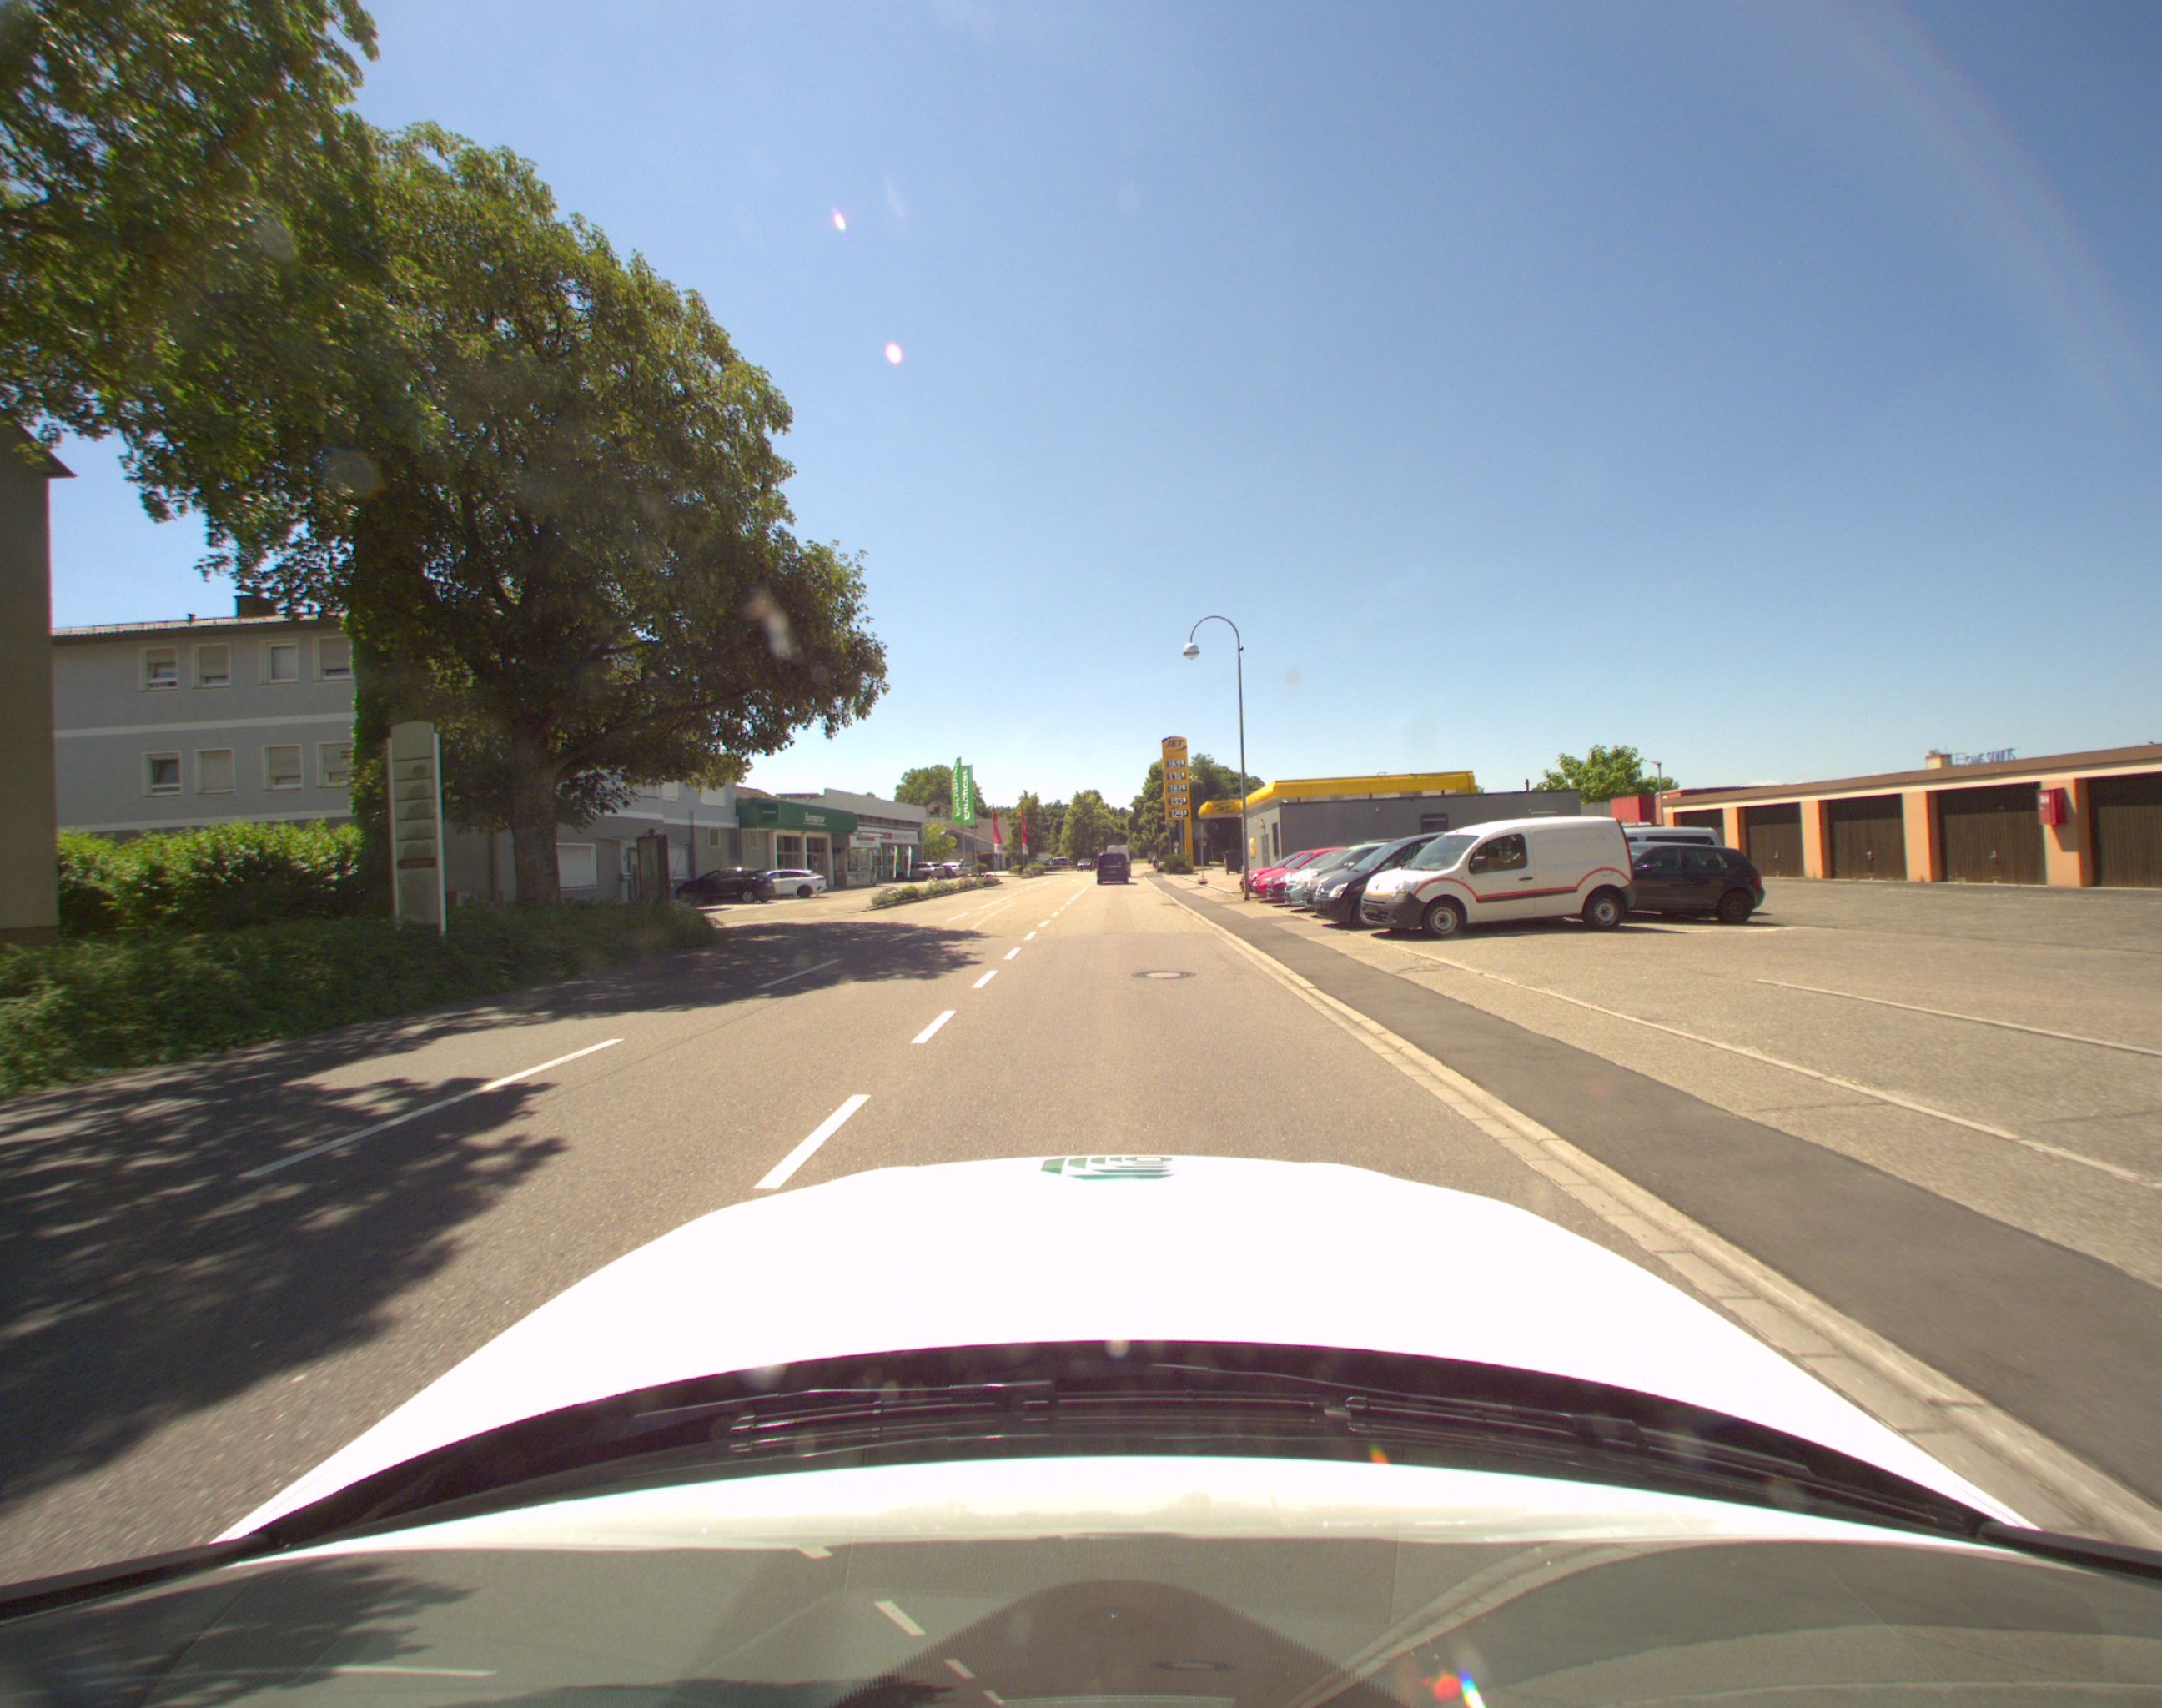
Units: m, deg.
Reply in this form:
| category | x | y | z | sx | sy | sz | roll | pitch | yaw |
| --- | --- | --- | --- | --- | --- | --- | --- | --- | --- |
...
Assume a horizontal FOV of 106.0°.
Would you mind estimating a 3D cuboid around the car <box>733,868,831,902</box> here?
| category | x | y | z | sx | sy | sz | roll | pitch | yaw |
| --- | --- | --- | --- | --- | --- | --- | --- | --- | --- |
| car | -14.573 | 1.506 | 39.826 | 4.355 | 1.439 | 1.927 | -2 | -1 | -20 |

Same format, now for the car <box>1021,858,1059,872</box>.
| category | x | y | z | sx | sy | sz | roll | pitch | yaw |
| --- | --- | --- | --- | --- | --- | --- | --- | --- | --- |
| car | -5.423 | 1.497 | 107.622 | 4.678 | 1.762 | 2.104 | -1 | -1 | 10 |

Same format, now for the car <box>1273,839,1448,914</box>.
| category | x | y | z | sx | sy | sz | roll | pitch | yaw |
| --- | --- | --- | --- | --- | --- | --- | --- | --- | --- |
| car | 6.790 | 0.538 | 20.032 | 3.673 | 1.566 | 1.641 | -3 | 0 | 0 |

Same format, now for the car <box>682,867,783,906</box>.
| category | x | y | z | sx | sy | sz | roll | pitch | yaw |
| --- | --- | --- | --- | --- | --- | --- | --- | --- | --- |
| car | -15.346 | 1.417 | 35.976 | 3.546 | 1.565 | 1.970 | -2 | -1 | 2 |

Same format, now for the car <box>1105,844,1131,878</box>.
| category | x | y | z | sx | sy | sz | roll | pitch | yaw |
| --- | --- | --- | --- | --- | --- | --- | --- | --- | --- |
| car | 3.027 | 0.612 | 66.939 | 2.070 | 2.702 | 4.669 | 0 | -1 | 3 |

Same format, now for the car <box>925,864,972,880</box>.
| category | x | y | z | sx | sy | sz | roll | pitch | yaw |
| --- | --- | --- | --- | --- | --- | --- | --- | --- | --- |
| car | -13.284 | 1.808 | 81.720 | 4.150 | 1.446 | 1.989 | -2 | 0 | 18 |

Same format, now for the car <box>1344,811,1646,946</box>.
| category | x | y | z | sx | sy | sz | roll | pitch | yaw |
| --- | --- | --- | --- | --- | --- | --- | --- | --- | --- |
| car | 6.763 | 0.370 | 13.587 | 4.125 | 1.938 | 1.806 | -2 | 0 | -4 |

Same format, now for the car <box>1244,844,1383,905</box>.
| category | x | y | z | sx | sy | sz | roll | pitch | yaw |
| --- | --- | --- | --- | --- | --- | --- | --- | --- | --- |
| car | 6.956 | 0.597 | 24.605 | 3.674 | 1.566 | 1.707 | -3 | 0 | -2 |

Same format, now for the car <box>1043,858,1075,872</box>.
| category | x | y | z | sx | sy | sz | roll | pitch | yaw |
| --- | --- | --- | --- | --- | --- | --- | --- | --- | --- |
| car | -3.138 | 1.634 | 117.705 | 4.337 | 1.980 | 1.907 | -1 | -1 | 4 |

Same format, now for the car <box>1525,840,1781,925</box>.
| category | x | y | z | sx | sy | sz | roll | pitch | yaw |
| --- | --- | --- | --- | --- | --- | --- | --- | --- | --- |
| car | 10.787 | 0.515 | 15.554 | 3.597 | 1.468 | 1.947 | 1 | 0 | -3 |

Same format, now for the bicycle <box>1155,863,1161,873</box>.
| category | x | y | z | sx | sy | sz | roll | pitch | yaw |
| --- | --- | --- | --- | --- | --- | --- | --- | --- | --- |
| bicycle | 7.596 | 1.367 | 80.045 | 0.375 | 0.912 | 1.603 | -2 | -1 | 11 |

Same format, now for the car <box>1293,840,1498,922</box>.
| category | x | y | z | sx | sy | sz | roll | pitch | yaw |
| --- | --- | --- | --- | --- | --- | --- | --- | --- | --- |
| car | 6.799 | 0.560 | 17.944 | 3.777 | 1.509 | 1.835 | -3 | 0 | 2 |

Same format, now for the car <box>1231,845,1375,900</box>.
| category | x | y | z | sx | sy | sz | roll | pitch | yaw |
| --- | --- | --- | --- | --- | --- | --- | --- | --- | --- |
| car | 7.293 | 0.597 | 27.067 | 4.209 | 1.534 | 1.959 | -3 | 0 | 1 |

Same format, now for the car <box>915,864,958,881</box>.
| category | x | y | z | sx | sy | sz | roll | pitch | yaw |
| --- | --- | --- | --- | --- | --- | --- | --- | --- | --- |
| car | -13.992 | 1.811 | 78.950 | 3.595 | 1.475 | 2.010 | -2 | 0 | 21 |

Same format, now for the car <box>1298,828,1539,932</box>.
| category | x | y | z | sx | sy | sz | roll | pitch | yaw |
| --- | --- | --- | --- | --- | --- | --- | --- | --- | --- |
| car | 6.374 | 0.478 | 15.691 | 3.864 | 1.680 | 1.763 | -3 | 0 | -1 |

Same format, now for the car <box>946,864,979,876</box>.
| category | x | y | z | sx | sy | sz | roll | pitch | yaw |
| --- | --- | --- | --- | --- | --- | --- | --- | --- | --- |
| car | -16.600 | 2.211 | 114.451 | 4.294 | 1.530 | 1.829 | -2 | -1 | 2 |

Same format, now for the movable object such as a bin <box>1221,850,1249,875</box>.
| category | x | y | z | sx | sy | sz | roll | pitch | yaw |
| --- | --- | --- | --- | --- | --- | --- | --- | --- | --- |
| movable object such as a bin | 9.517 | 0.521 | 50.341 | 1.428 | 1.438 | 1.469 | -4 | -1 | 3 |

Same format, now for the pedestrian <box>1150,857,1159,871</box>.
| category | x | y | z | sx | sy | sz | roll | pitch | yaw |
| --- | --- | --- | --- | --- | --- | --- | --- | --- | --- |
| pedestrian | 7.230 | 0.974 | 80.201 | 0.764 | 1.421 | 0.870 | -2 | -1 | 11 |

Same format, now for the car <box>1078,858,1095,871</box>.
| category | x | y | z | sx | sy | sz | roll | pitch | yaw |
| --- | --- | --- | --- | --- | --- | --- | --- | --- | --- |
| car | 0.709 | 1.280 | 101.800 | 1.755 | 1.527 | 4.141 | -3 | 0 | 3 |

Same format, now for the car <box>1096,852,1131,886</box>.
| category | x | y | z | sx | sy | sz | roll | pitch | yaw |
| --- | --- | --- | --- | --- | --- | --- | --- | --- | --- |
| car | 1.943 | 0.882 | 49.435 | 1.986 | 1.953 | 5.006 | 0 | -1 | 2 |

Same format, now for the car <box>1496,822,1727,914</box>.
| category | x | y | z | sx | sy | sz | roll | pitch | yaw |
| --- | --- | --- | --- | --- | --- | --- | --- | --- | --- |
| car | 11.342 | 0.283 | 17.611 | 3.877 | 1.838 | 1.690 | 1 | 0 | 3 |

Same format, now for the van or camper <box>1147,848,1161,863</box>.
| category | x | y | z | sx | sy | sz | roll | pitch | yaw |
| --- | --- | --- | --- | --- | --- | --- | --- | --- | --- |
| van or camper | 14.804 | 0.263 | 165.737 | 2.621 | 2.929 | 5.210 | -1 | -1 | 3 |

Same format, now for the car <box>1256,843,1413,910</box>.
| category | x | y | z | sx | sy | sz | roll | pitch | yaw |
| --- | --- | --- | --- | --- | --- | --- | --- | --- | --- |
| car | 6.866 | 0.582 | 22.299 | 3.675 | 1.566 | 1.748 | -3 | 0 | -2 |

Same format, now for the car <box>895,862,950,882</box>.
| category | x | y | z | sx | sy | sz | roll | pitch | yaw |
| --- | --- | --- | --- | --- | --- | --- | --- | --- | --- |
| car | -14.382 | 1.650 | 73.971 | 4.491 | 1.664 | 2.010 | -2 | 0 | 21 |

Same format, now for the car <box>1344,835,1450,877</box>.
| category | x | y | z | sx | sy | sz | roll | pitch | yaw |
| --- | --- | --- | --- | --- | --- | --- | --- | --- | --- |
| car | 13.949 | 0.109 | 36.136 | 3.968 | 1.657 | 1.950 | -2 | -1 | 4 |
